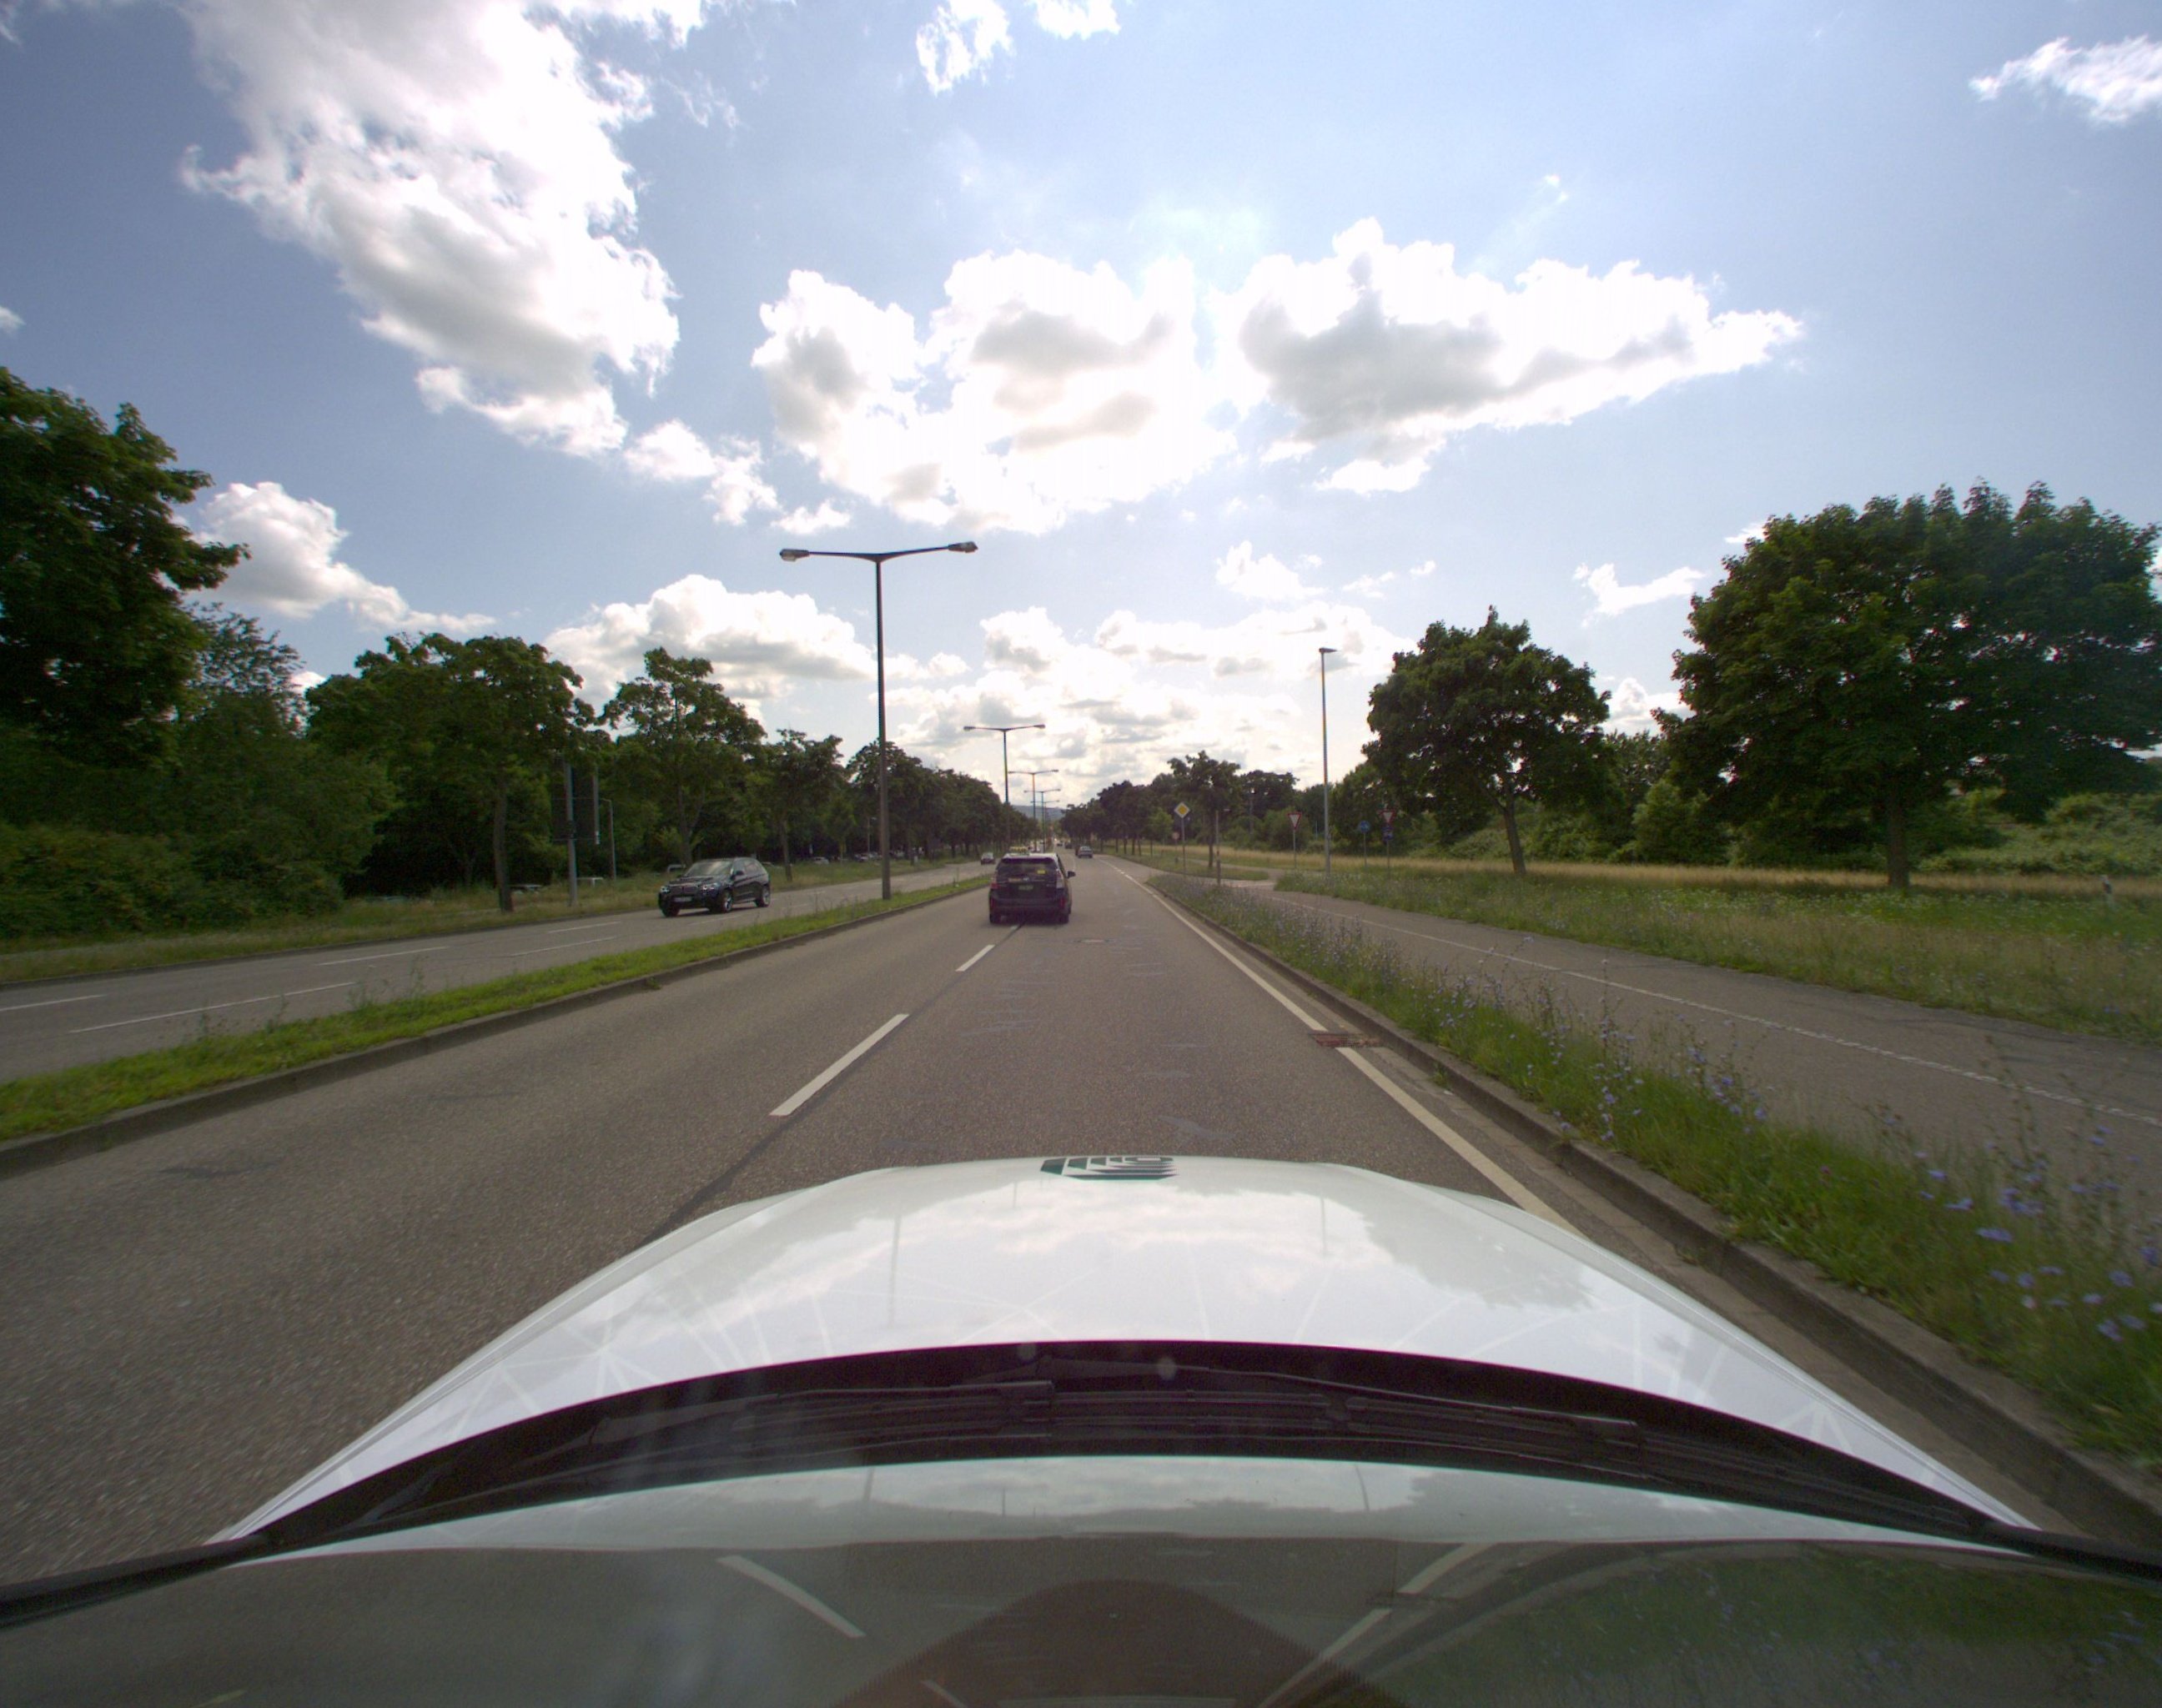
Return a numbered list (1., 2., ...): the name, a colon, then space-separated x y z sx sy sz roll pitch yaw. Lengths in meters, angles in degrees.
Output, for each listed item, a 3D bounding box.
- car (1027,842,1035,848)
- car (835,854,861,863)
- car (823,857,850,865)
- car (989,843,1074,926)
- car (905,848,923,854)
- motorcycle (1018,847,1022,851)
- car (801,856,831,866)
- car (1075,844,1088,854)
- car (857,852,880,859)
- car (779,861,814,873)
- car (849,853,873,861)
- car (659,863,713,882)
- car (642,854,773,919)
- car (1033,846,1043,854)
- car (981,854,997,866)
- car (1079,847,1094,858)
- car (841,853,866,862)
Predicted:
1. car: -14.539 -2.626 236.642 1.872 1.508 3.800 0 1 2
2. car: -38.980 0.756 136.522 3.769 1.568 1.787 0 1 2
3. car: -38.718 1.108 128.970 3.774 1.247 1.785 0 1 -2
4. car: -1.065 0.617 19.137 1.774 1.683 3.999 0 1 -1
5. car: -40.623 -0.741 198.202 3.769 1.387 1.787 0 1 2
6. motorcycle: -12.571 -1.095 167.445 0.749 0.772 2.671 0 1 0
7. car: -38.593 0.990 118.677 3.774 1.428 1.785 0 1 -2
8. car: 0.080 -0.856 134.737 1.987 1.661 4.000 0 1 0
9. car: -39.655 0.297 151.881 3.769 1.387 1.787 0 1 2
10. car: -36.068 1.657 103.438 3.772 1.508 1.786 0 1 0
11. car: -39.327 0.523 145.775 3.769 1.387 1.787 0 1 2
12. car: -37.037 1.706 76.430 3.978 1.625 1.998 0 1 -3
13. car: -11.763 0.937 26.061 1.870 1.790 4.728 -3 0 0
14. car: -8.656 -0.766 165.850 1.805 1.398 4.732 -2 1 -1
15. car: -11.188 0.741 98.697 1.701 1.427 3.663 -2 0 -9
16. car: 0.845 -0.296 120.131 1.989 1.508 3.997 0 1 -3
17. car: -39.306 0.578 140.819 3.769 1.387 1.787 0 1 2
